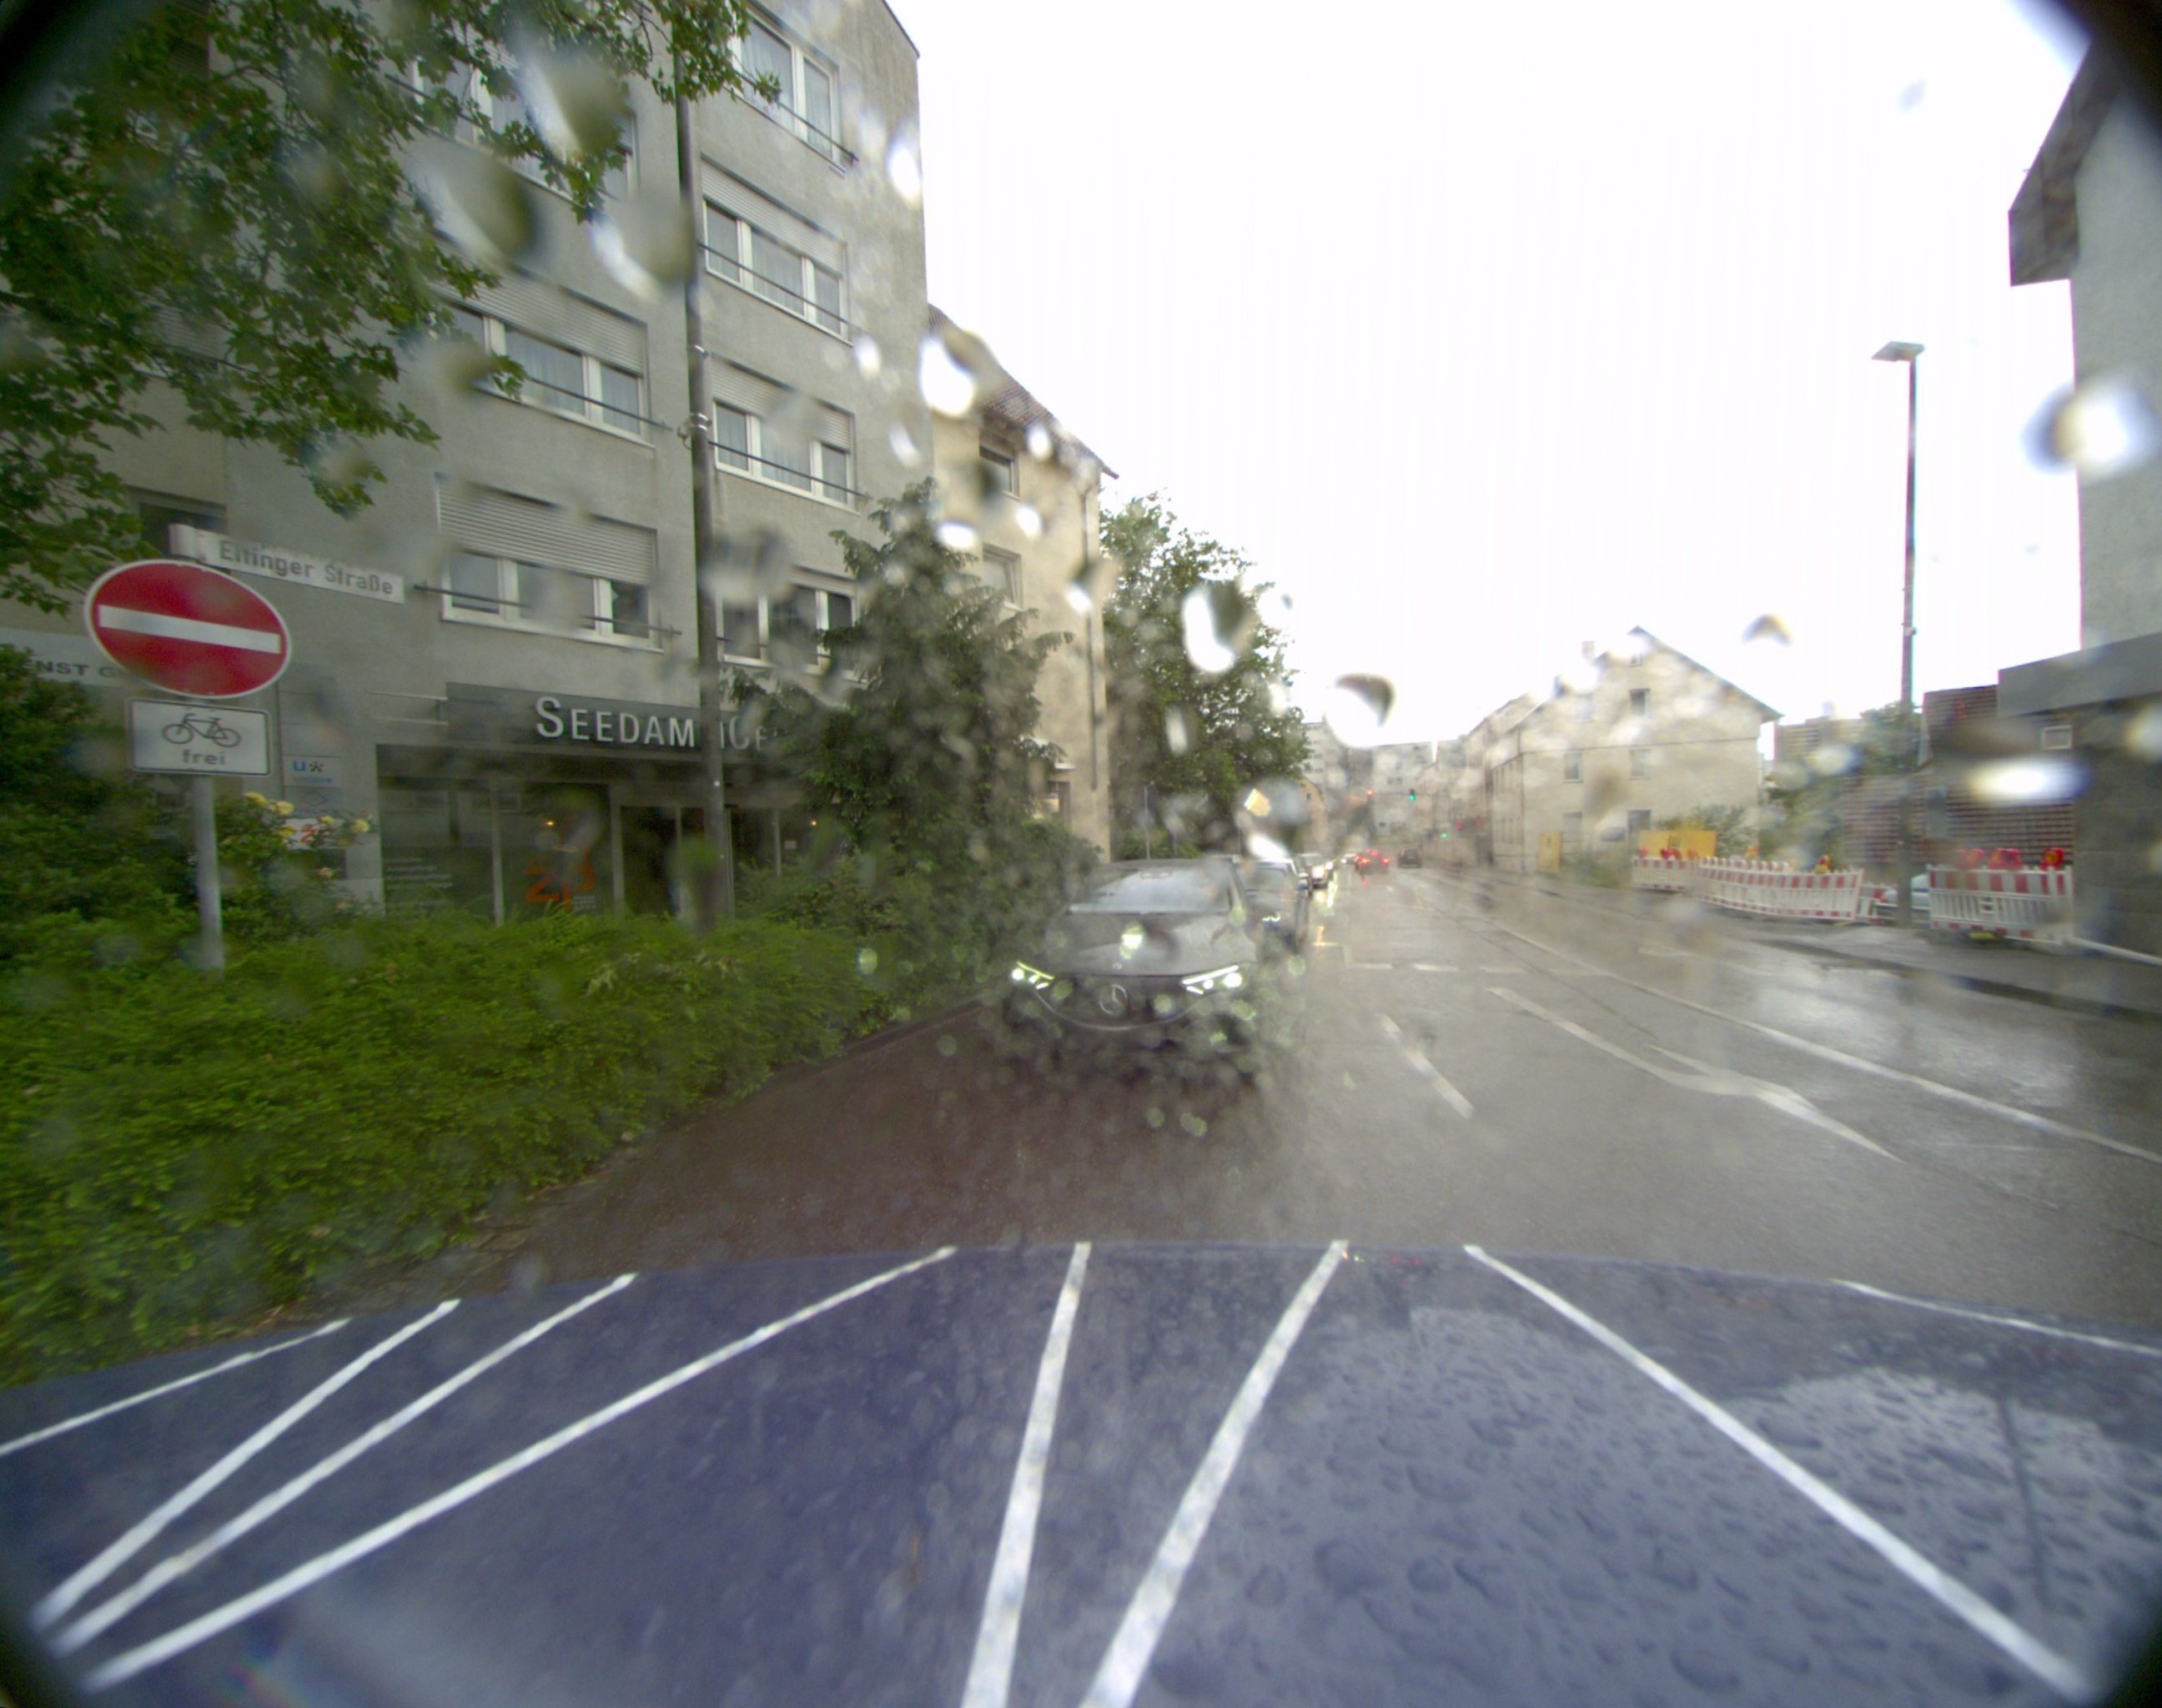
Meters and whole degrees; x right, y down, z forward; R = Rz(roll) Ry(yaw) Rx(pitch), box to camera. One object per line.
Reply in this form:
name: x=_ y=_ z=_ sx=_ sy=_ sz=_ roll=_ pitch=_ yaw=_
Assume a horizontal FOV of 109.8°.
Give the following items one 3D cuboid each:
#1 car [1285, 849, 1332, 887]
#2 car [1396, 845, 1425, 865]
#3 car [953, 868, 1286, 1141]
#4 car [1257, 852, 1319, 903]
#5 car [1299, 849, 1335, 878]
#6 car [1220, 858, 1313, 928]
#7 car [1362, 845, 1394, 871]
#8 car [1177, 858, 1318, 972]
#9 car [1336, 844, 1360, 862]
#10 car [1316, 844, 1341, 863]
car: x=10.533 y=0.608 z=35.007 sx=1.842 sy=1.612 sz=4.005 roll=-2 pitch=0 yaw=19
car: x=26.722 y=0.071 z=61.729 sx=1.810 sy=1.556 sz=4.005 roll=-1 pitch=1 yaw=19
car: x=0.630 y=0.958 z=6.749 sx=1.997 sy=1.484 sz=4.317 roll=-2 pitch=0 yaw=12
car: x=7.300 y=0.771 z=26.583 sx=1.811 sy=1.556 sz=4.005 roll=-2 pitch=0 yaw=19
car: x=13.963 y=0.527 z=44.810 sx=1.830 sy=1.542 sz=4.005 roll=-3 pitch=-1 yaw=19
car: x=4.784 y=0.914 z=19.285 sx=1.996 sy=1.444 sz=4.004 roll=-3 pitch=0 yaw=16
car: x=19.607 y=0.229 z=50.276 sx=1.811 sy=1.556 sz=4.005 roll=-2 pitch=0 yaw=19
car: x=3.017 y=0.896 z=13.014 sx=1.771 sy=1.524 sz=4.384 roll=-2 pitch=0 yaw=19
car: x=26.747 y=-0.062 z=76.152 sx=1.996 sy=1.542 sz=4.007 roll=0 pitch=-3 yaw=15
car: x=20.453 y=-0.058 z=62.958 sx=1.851 sy=1.469 sz=4.005 roll=-2 pitch=0 yaw=16
